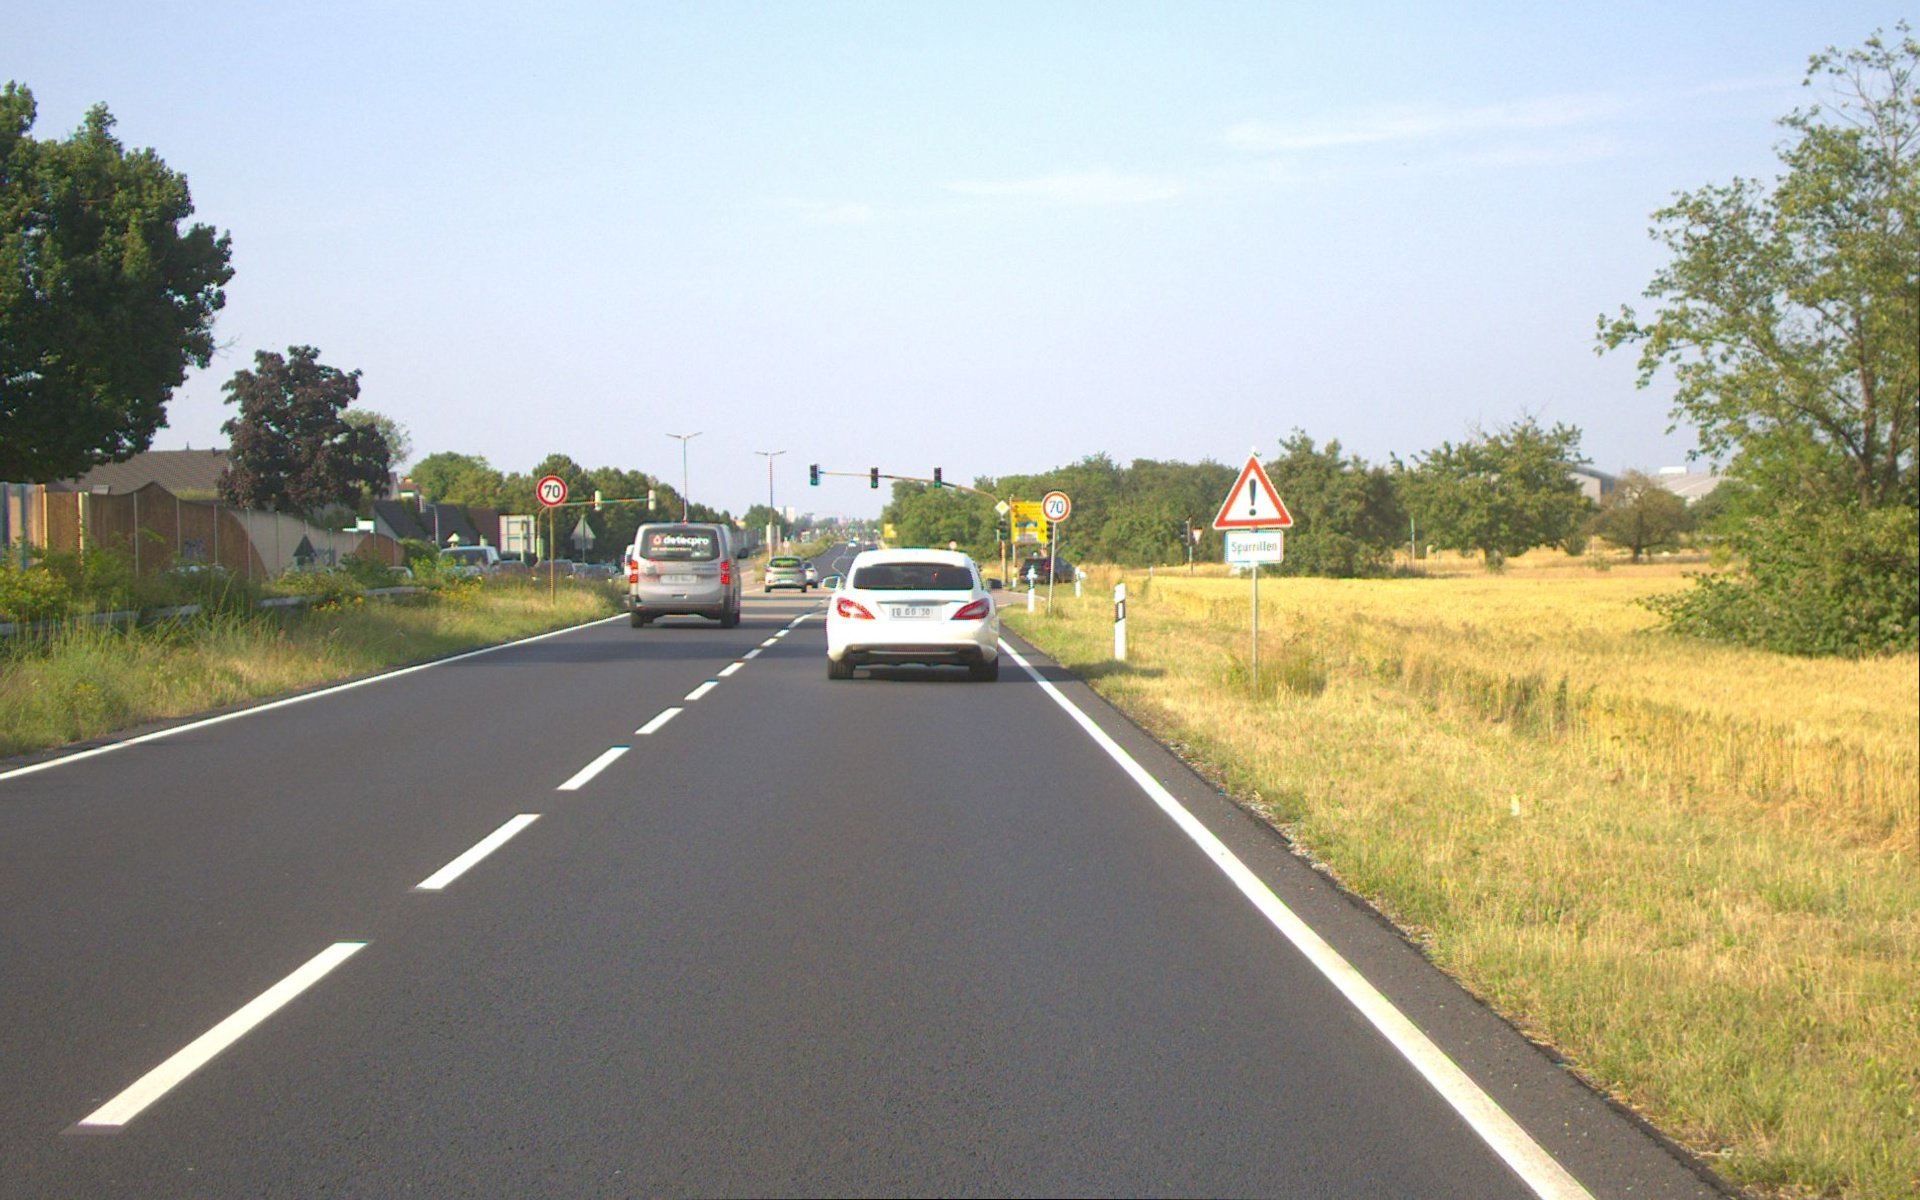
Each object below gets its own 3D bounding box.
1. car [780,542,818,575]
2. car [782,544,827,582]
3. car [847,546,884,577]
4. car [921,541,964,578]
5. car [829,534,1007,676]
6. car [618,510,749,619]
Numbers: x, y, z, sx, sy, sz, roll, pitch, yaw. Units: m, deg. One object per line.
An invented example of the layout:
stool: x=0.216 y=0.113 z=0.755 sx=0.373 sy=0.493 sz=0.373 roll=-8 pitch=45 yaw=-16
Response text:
car: x=-8.221 y=-2.124 z=174.996 sx=1.775 sy=1.660 sz=3.664 roll=1 pitch=1 yaw=-5
car: x=-6.337 y=-1.526 z=140.193 sx=1.717 sy=1.487 sz=3.585 roll=1 pitch=1 yaw=-1
car: x=-5.172 y=-2.122 z=188.912 sx=1.839 sy=1.678 sz=4.000 roll=1 pitch=1 yaw=1
car: x=-0.743 y=-1.719 z=144.841 sx=1.754 sy=1.511 sz=4.000 roll=-1 pitch=1 yaw=-1
car: x=-0.501 y=0.022 z=38.587 sx=1.894 sy=1.503 sz=4.000 roll=0 pitch=1 yaw=-2
car: x=-4.994 y=-0.685 z=62.699 sx=2.025 sy=1.885 sz=4.959 roll=1 pitch=1 yaw=-1
